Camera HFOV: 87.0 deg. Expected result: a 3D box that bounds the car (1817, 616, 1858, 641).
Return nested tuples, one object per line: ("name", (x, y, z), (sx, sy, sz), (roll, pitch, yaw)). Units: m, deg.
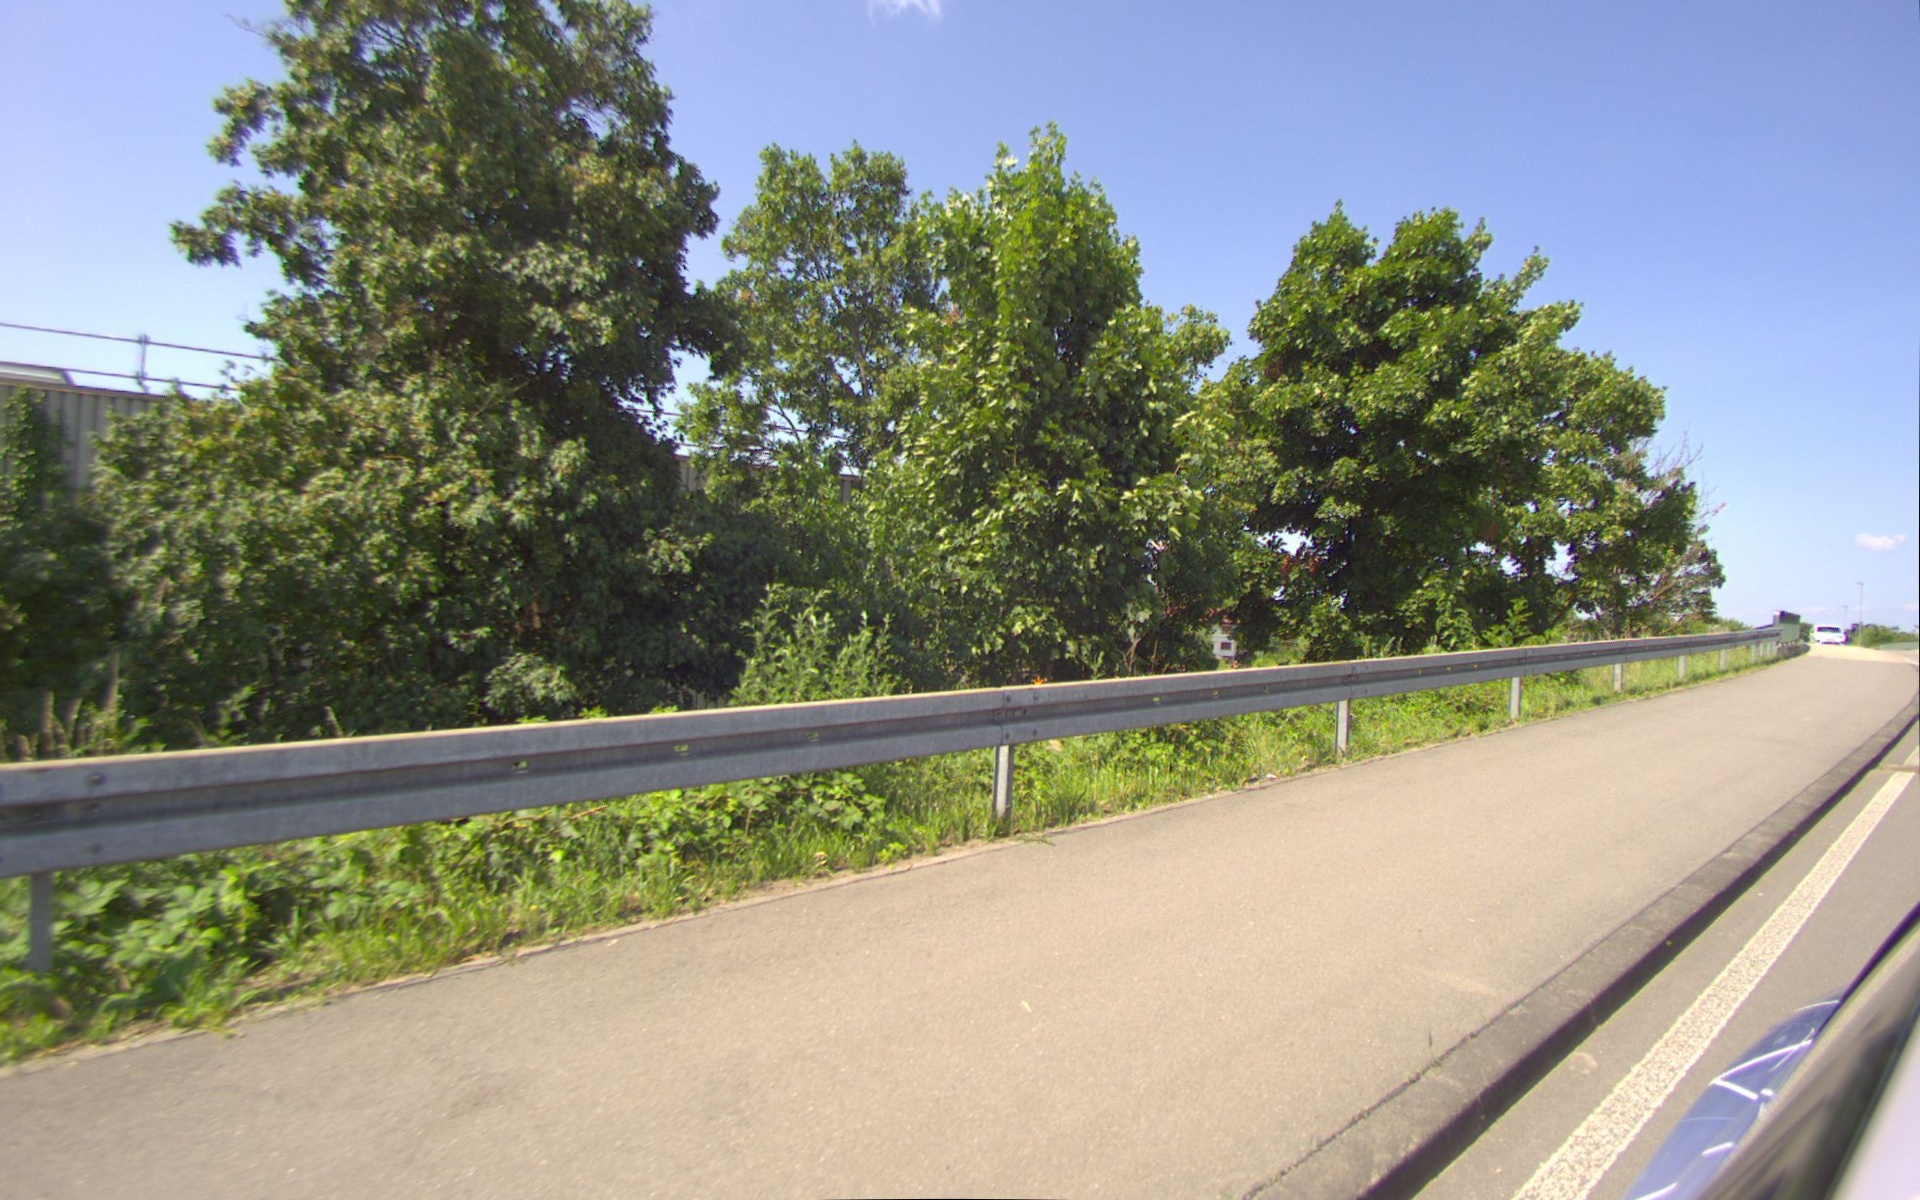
("car", (67.338, 2.162, 77.709), (2.083, 1.783, 4.223), (1, -1, 38))
